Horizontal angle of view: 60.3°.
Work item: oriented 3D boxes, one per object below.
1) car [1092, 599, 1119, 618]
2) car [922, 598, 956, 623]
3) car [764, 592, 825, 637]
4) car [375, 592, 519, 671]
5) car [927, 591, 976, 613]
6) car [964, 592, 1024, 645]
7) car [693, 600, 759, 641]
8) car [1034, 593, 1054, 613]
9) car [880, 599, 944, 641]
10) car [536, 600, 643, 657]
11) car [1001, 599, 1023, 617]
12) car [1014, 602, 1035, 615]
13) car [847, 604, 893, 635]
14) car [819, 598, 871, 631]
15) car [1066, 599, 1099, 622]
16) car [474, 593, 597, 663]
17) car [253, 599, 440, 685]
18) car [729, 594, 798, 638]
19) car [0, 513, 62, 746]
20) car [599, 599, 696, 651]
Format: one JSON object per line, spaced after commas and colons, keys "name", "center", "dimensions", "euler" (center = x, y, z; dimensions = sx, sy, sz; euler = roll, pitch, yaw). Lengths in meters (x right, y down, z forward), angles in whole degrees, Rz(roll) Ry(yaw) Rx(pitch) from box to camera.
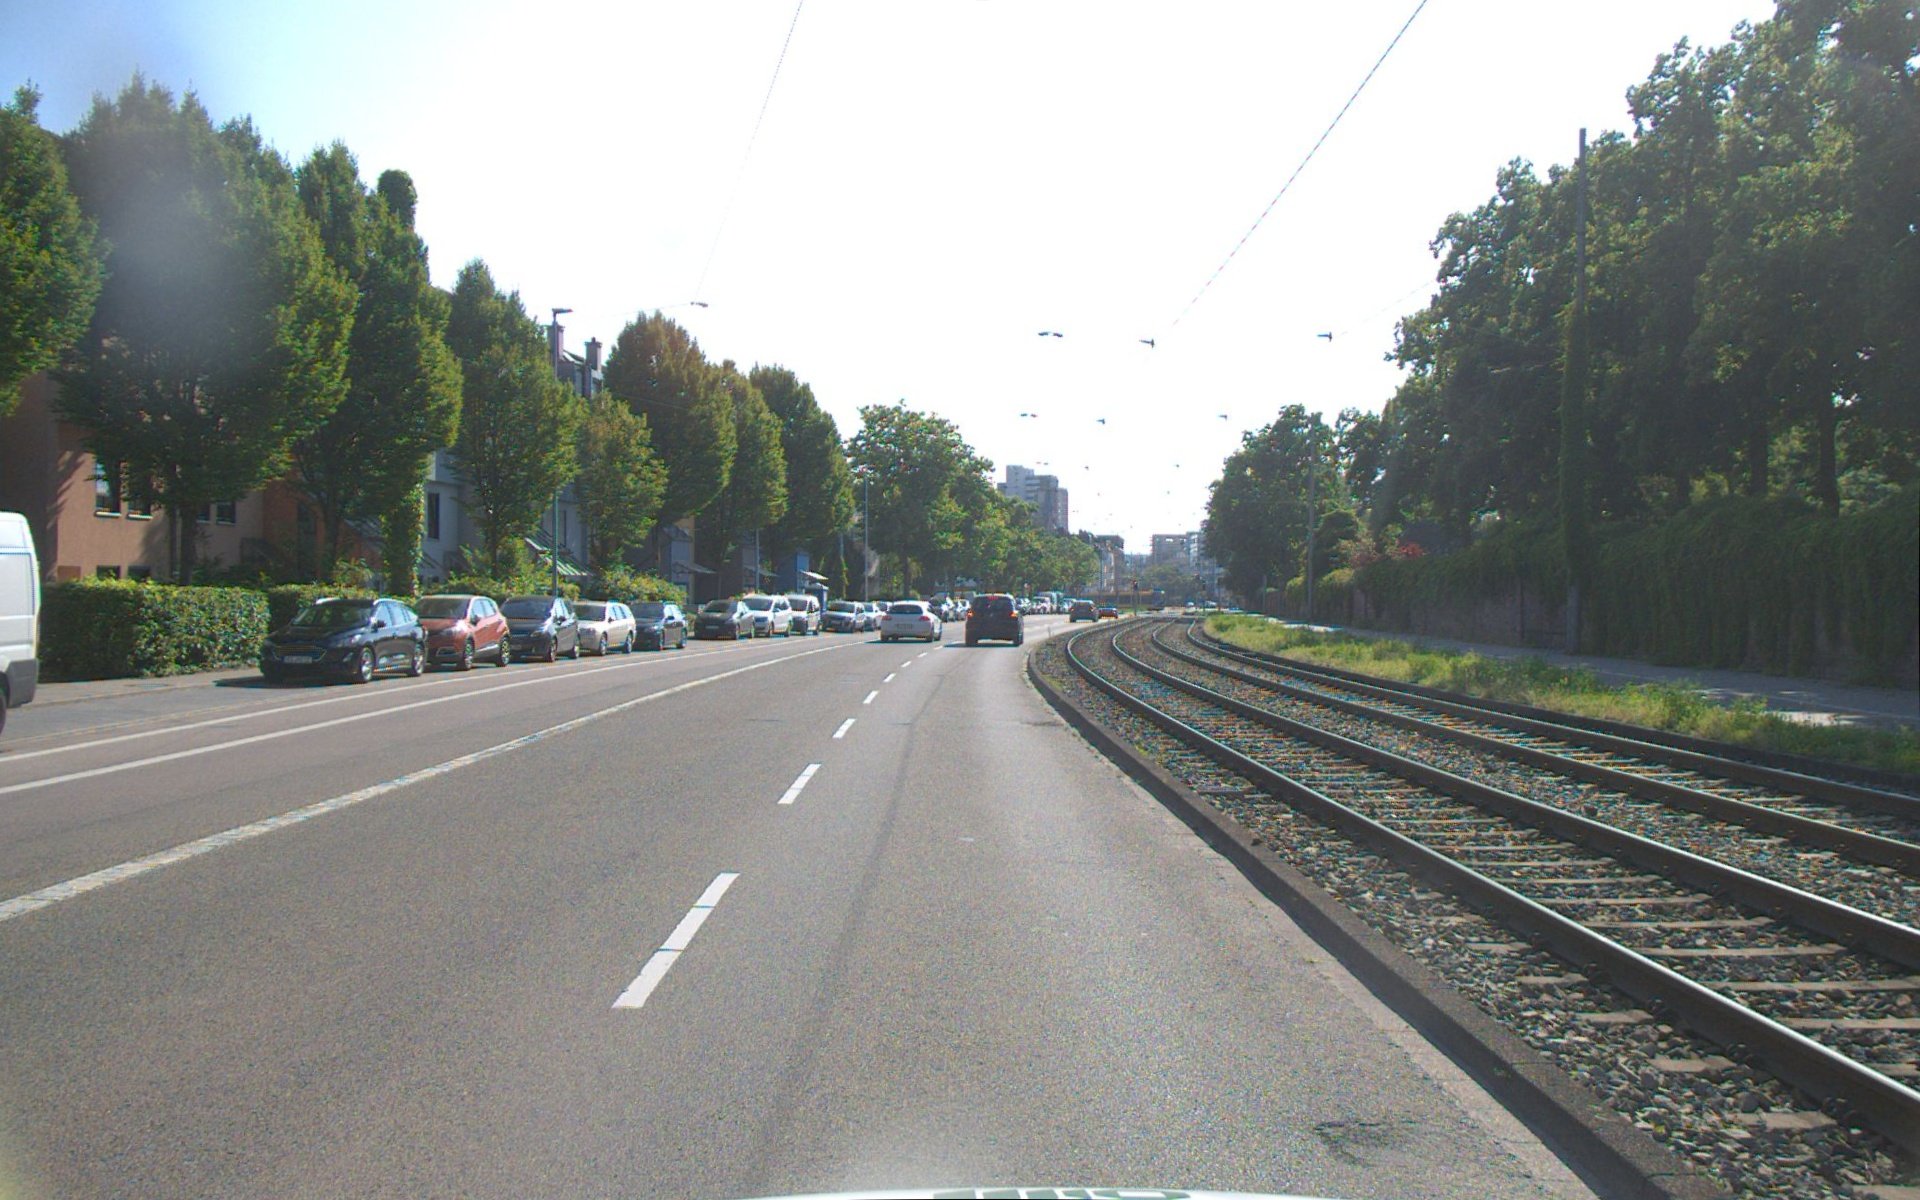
{"name": "car", "center": [12.273, 0.694, 139.340], "dimensions": [1.773, 1.474, 4.003], "euler": [2, 0, 11]}
{"name": "car", "center": [-1.465, 0.721, 117.398], "dimensions": [1.675, 1.723, 4.426], "euler": [0, 0, 9]}
{"name": "car", "center": [-7.569, 0.634, 76.010], "dimensions": [1.726, 1.877, 4.583], "euler": [5, 0, 7]}
{"name": "car", "center": [-11.069, 0.674, 35.980], "dimensions": [1.726, 1.601, 4.162], "euler": [0, -1, 2]}
{"name": "car", "center": [-0.962, 0.254, 189.898], "dimensions": [5.260, 2.466, 2.089], "euler": [0, 0, 9]}
{"name": "car", "center": [1.152, 0.597, 54.274], "dimensions": [1.773, 1.673, 4.002], "euler": [1, 0, 3]}
{"name": "car", "center": [-9.090, 0.771, 64.486], "dimensions": [1.582, 1.491, 4.061], "euler": [2, 0, 6]}
{"name": "car", "center": [9.922, 0.359, 195.133], "dimensions": [1.823, 2.389, 4.989], "euler": [0, 0, 10]}
{"name": "car", "center": [-1.618, 0.656, 57.121], "dimensions": [1.825, 1.371, 4.002], "euler": [1, 0, 4]}
{"name": "car", "center": [-10.520, 0.802, 47.294], "dimensions": [1.676, 1.497, 4.846], "euler": [2, -1, 3]}
{"name": "car", "center": [5.241, 0.792, 165.617], "dimensions": [1.695, 1.687, 4.003], "euler": [0, 0, 10]}
{"name": "car", "center": [6.952, 0.902, 177.484], "dimensions": [1.695, 1.413, 3.738], "euler": [0, 0, 10]}
{"name": "car", "center": [-4.919, 1.044, 90.938], "dimensions": [1.712, 1.537, 4.759], "euler": [4, 0, 6]}
{"name": "car", "center": [-5.937, 0.739, 85.769], "dimensions": [1.726, 1.565, 3.984], "euler": [5, 0, 9]}
{"name": "car", "center": [8.319, 0.674, 112.086], "dimensions": [1.773, 1.474, 4.003], "euler": [2, 0, 10]}
{"name": "car", "center": [-10.682, 0.692, 41.915], "dimensions": [1.725, 1.601, 4.301], "euler": [2, 0, 4]}
{"name": "car", "center": [-11.187, 0.715, 30.527], "dimensions": [1.618, 1.449, 4.714], "euler": [0, 0, 1]}
{"name": "car", "center": [-8.249, 0.666, 69.814], "dimensions": [1.633, 1.730, 4.828], "euler": [2, 0, 8]}
{"name": "car", "center": [-11.294, 0.289, 15.780], "dimensions": [2.109, 2.500, 6.182], "euler": [2, 0, -1]}
{"name": "car", "center": [-9.962, 0.768, 53.063], "dimensions": [1.673, 1.497, 4.913], "euler": [2, 0, 6]}
